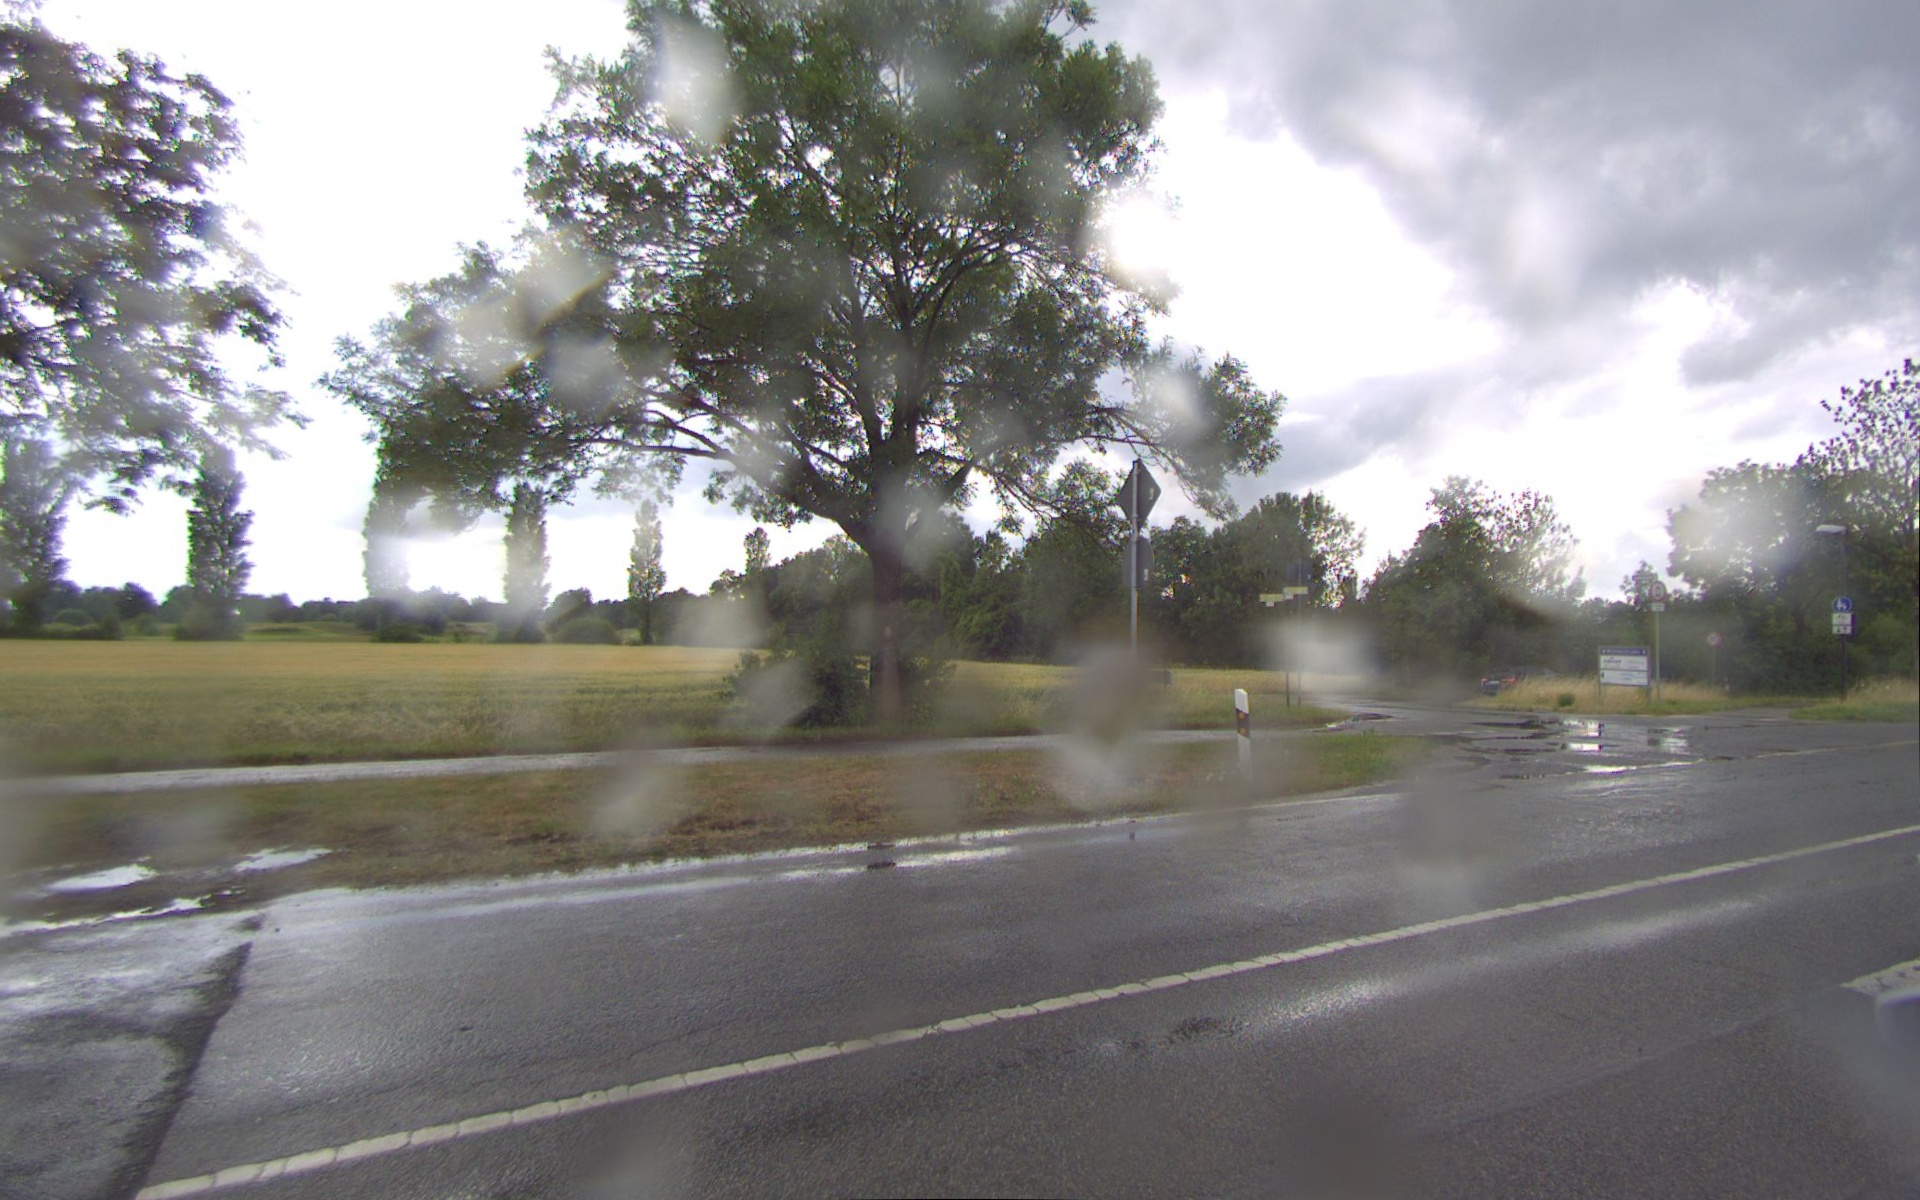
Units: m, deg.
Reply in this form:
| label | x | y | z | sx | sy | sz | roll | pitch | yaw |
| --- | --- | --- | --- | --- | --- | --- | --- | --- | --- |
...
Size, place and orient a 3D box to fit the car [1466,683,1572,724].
| label | x | y | z | sx | sy | sz | roll | pitch | yaw |
| --- | --- | --- | --- | --- | --- | --- | --- | --- | --- |
| car | 25.273 | 4.625 | 45.419 | 4.583 | 1.568 | 2.289 | 3 | 0 | -33 |
